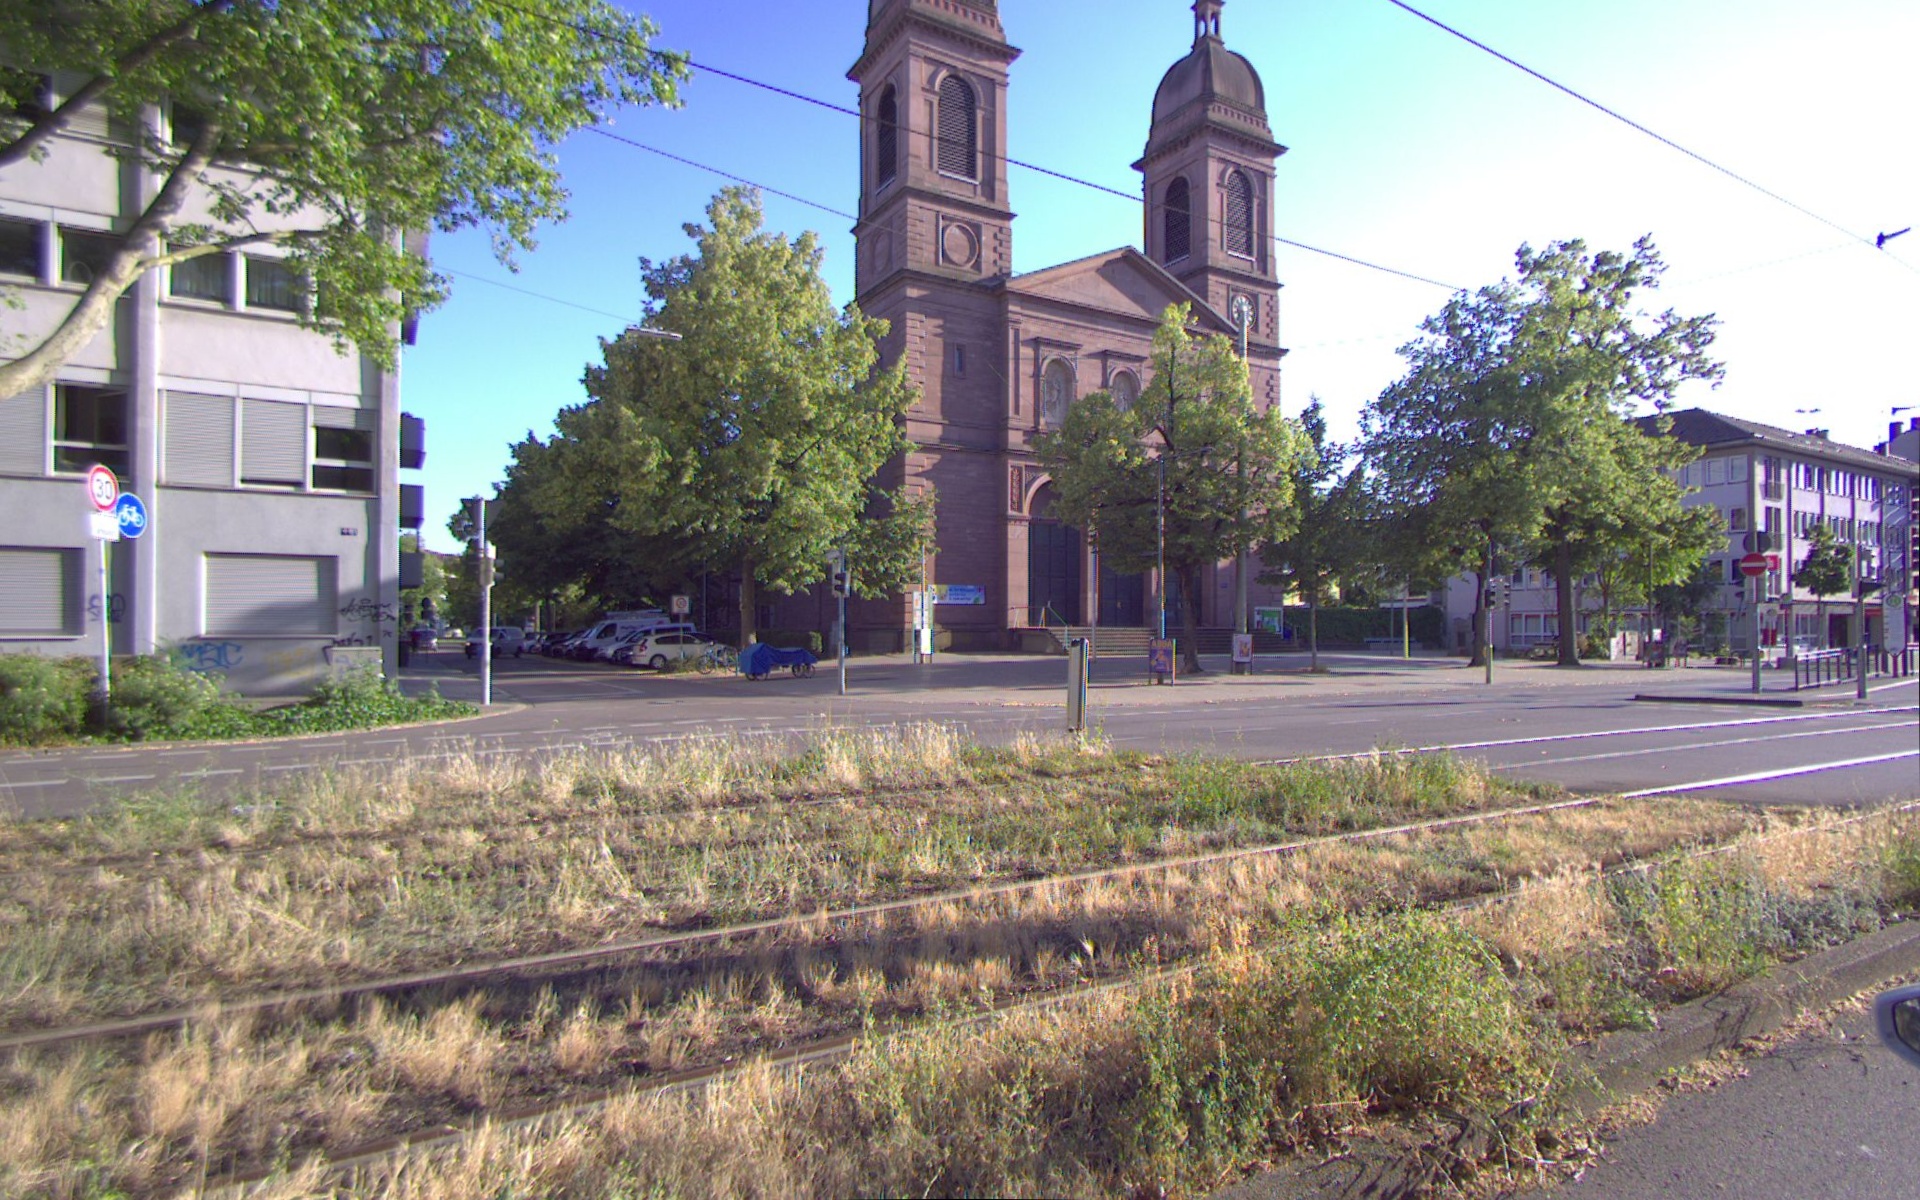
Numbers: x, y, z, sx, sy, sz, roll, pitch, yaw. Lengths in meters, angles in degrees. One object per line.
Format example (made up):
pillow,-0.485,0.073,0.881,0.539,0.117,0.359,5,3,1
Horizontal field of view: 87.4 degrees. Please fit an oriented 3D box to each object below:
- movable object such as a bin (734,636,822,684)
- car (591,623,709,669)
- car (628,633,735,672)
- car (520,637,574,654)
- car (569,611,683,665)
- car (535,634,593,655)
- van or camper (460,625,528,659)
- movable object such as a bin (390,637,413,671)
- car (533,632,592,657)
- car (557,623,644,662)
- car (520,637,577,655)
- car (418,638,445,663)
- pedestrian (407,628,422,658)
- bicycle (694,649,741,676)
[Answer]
movable object such as a bin,-5.612,1.837,31.022,2.416,1.228,1.102,-3,3,-30
car,-14.966,2.195,48.635,5.121,2.040,1.981,1,0,-34
car,-11.675,2.192,42.138,3.953,1.479,1.984,1,0,-30
car,-31.607,3.459,76.864,3.667,1.222,1.662,1,-2,-30
car,-17.735,1.984,53.430,5.381,2.710,1.980,1,0,-36
car,-28.648,3.176,72.677,3.667,1.464,1.662,1,-2,-30
van or camper,-29.194,2.618,63.087,1.961,2.040,5.135,0,-1,-1
movable object such as a bin,-21.754,2.092,39.131,0.737,1.323,0.865,1,-1,-32
car,-27.942,3.102,70.626,3.667,1.692,1.662,1,-2,-30
car,-19.861,2.332,55.590,4.174,2.040,1.981,1,0,-34
car,-30.438,3.371,74.297,3.667,1.303,1.662,1,-2,-30
car,-45.175,4.291,85.818,1.976,2.040,3.970,1,-2,-29
pedestrian,-31.872,2.512,58.702,0.681,1.774,0.637,1,-1,-34
bicycle,-8.515,2.174,35.276,1.517,0.904,0.465,1,0,-27
